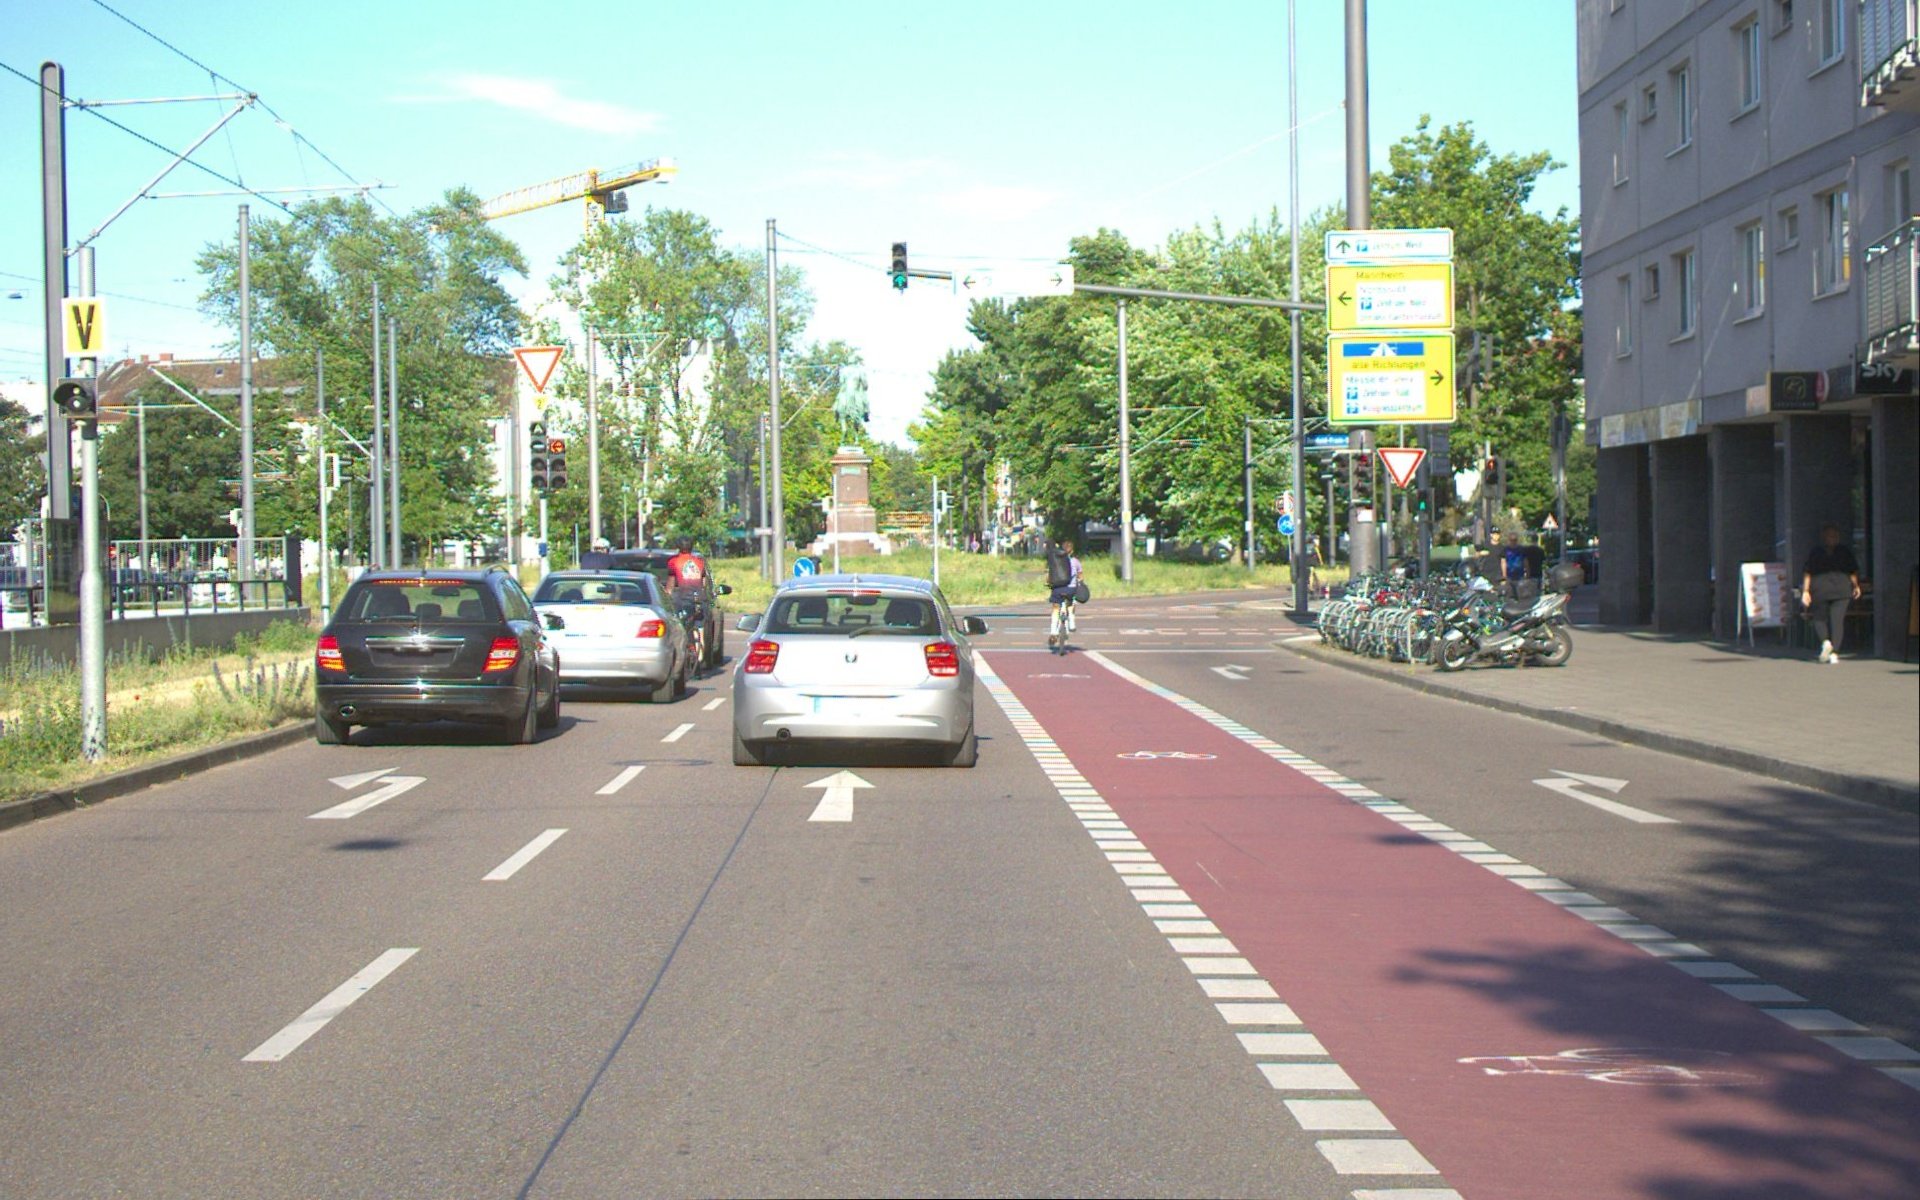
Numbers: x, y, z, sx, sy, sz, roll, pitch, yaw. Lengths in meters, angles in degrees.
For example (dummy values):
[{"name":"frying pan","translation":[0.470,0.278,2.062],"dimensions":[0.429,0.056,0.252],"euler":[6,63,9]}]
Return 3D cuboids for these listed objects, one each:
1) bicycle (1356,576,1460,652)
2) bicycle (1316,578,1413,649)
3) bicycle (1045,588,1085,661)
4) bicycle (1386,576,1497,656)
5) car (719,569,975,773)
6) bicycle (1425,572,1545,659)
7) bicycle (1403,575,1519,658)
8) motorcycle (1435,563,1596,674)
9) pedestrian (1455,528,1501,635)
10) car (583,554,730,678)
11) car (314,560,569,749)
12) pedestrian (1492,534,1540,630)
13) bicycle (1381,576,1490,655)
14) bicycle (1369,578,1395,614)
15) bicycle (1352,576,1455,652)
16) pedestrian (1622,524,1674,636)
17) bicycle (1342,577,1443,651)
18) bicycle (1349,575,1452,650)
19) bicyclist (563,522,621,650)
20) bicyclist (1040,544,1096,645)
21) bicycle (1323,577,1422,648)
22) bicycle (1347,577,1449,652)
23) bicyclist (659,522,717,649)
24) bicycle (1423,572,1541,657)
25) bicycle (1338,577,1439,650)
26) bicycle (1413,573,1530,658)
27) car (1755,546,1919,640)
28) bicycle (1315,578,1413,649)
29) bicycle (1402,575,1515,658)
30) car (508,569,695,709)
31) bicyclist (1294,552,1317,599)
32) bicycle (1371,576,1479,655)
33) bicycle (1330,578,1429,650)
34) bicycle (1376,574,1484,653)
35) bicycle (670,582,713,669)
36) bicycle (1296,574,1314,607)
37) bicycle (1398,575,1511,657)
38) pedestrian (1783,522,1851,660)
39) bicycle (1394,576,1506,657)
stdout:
[{"name":"bicycle","translation":[6.522,0.200,50.065],"dimensions":[1.465,1.063,0.257],"euler":[-2,0,1]},{"name":"bicycle","translation":[6.357,0.208,54.042],"dimensions":[1.465,1.063,0.257],"euler":[-2,0,1]},{"name":"bicycle","translation":[1.597,0.362,52.583],"dimensions":[0.499,1.085,1.997],"euler":[1,0,-1]},{"name":"bicycle","translation":[6.670,0.219,47.659],"dimensions":[1.465,1.063,0.257],"euler":[-2,0,1]},{"name":"car","translation":[-0.830,0.487,26.315],"dimensions":[1.798,1.410,4.000],"euler":[-1,1,-1]},{"name":"bicycle","translation":[6.742,0.199,44.167],"dimensions":[1.465,1.063,0.257],"euler":[-2,0,1]},{"name":"bicycle","translation":[6.638,0.216,45.560],"dimensions":[1.465,1.063,0.257],"euler":[-2,0,1]},{"name":"motorcycle","translation":[6.824,0.227,42.289],"dimensions":[1.855,1.296,0.652],"euler":[-2,0,3]},{"name":"pedestrian","translation":[9.835,-0.346,65.254],"dimensions":[0.791,2.007,0.870],"euler":[1,0,6]},{"name":"car","translation":[-4.125,0.189,47.187],"dimensions":[1.704,1.616,4.000],"euler":[-1,1,-1]},{"name":"car","translation":[-4.300,0.406,29.050],"dimensions":[1.726,1.465,4.411],"euler":[0,0,-3]},{"name":"pedestrian","translation":[10.804,-0.347,66.808],"dimensions":[0.826,1.850,0.916],"euler":[1,0,14]},{"name":"bicycle","translation":[6.635,0.216,48.005],"dimensions":[1.465,1.063,0.257],"euler":[-2,0,1]},{"name":"bicycle","translation":[11.972,-0.118,97.613],"dimensions":[0.417,1.005,1.945],"euler":[1,0,-2]},{"name":"bicycle","translation":[6.536,0.207,50.685],"dimensions":[1.465,1.063,0.257],"euler":[-2,0,1]},{"name":"pedestrian","translation":[12.488,-0.372,62.429],"dimensions":[0.843,2.007,0.889],"euler":[1,0,9]},{"name":"bicycle","translation":[6.497,0.213,51.647],"dimensions":[1.465,1.063,0.257],"euler":[-2,0,1]},{"name":"bicycle","translation":[6.528,0.187,50.999],"dimensions":[1.465,1.063,0.257],"euler":[-2,0,1]},{"name":"bicyclist","translation":[-4.562,-0.179,42.683],"dimensions":[0.616,1.566,0.686],"euler":[1,0,1]},{"name":"bicyclist","translation":[1.648,-0.083,52.583],"dimensions":[0.785,1.526,0.895],"euler":[1,0,-1]},{"name":"bicycle","translation":[6.400,0.195,53.342],"dimensions":[1.465,1.063,0.257],"euler":[-2,0,1]},{"name":"bicycle","translation":[6.542,0.217,51.338],"dimensions":[1.465,1.063,0.257],"euler":[-2,0,1]},{"name":"bicyclist","translation":[-3.393,-0.188,42.875],"dimensions":[0.616,1.566,0.686],"euler":[-1,1,-12]},{"name":"bicycle","translation":[6.759,0.186,44.553],"dimensions":[1.465,1.063,0.257],"euler":[-2,0,1]},{"name":"bicycle","translation":[6.476,0.206,51.964],"dimensions":[1.465,1.063,0.257],"euler":[-2,0,1]},{"name":"bicycle","translation":[6.720,0.204,45.152],"dimensions":[1.465,1.063,0.257],"euler":[-2,0,1]},{"name":"car","translation":[20.070,-0.148,76.367],"dimensions":[4.361,2.007,1.972],"euler":[1,0,1]},{"name":"bicycle","translation":[6.305,0.209,53.704],"dimensions":[1.465,1.063,0.257],"euler":[-2,0,1]},{"name":"bicycle","translation":[6.703,0.218,46.241],"dimensions":[1.465,1.063,0.257],"euler":[-2,0,1]},{"name":"car","translation":[-3.804,0.386,36.996],"dimensions":[1.644,1.416,4.000],"euler":[0,0,-1]},{"name":"bicyclist","translation":[10.274,-0.734,102.235],"dimensions":[0.616,1.375,0.686],"euler":[1,0,1]},{"name":"bicycle","translation":[6.587,0.218,48.715],"dimensions":[1.465,1.063,0.257],"euler":[-2,0,1]},{"name":"bicycle","translation":[6.472,0.208,53.016],"dimensions":[1.465,1.063,0.257],"euler":[-2,0,1]},{"name":"bicycle","translation":[6.609,0.192,48.348],"dimensions":[1.465,1.063,0.257],"euler":[-2,0,1]},{"name":"bicycle","translation":[-3.349,0.305,42.872],"dimensions":[0.338,1.053,1.779],"euler":[-1,1,-11]},{"name":"bicycle","translation":[10.271,-0.282,102.372],"dimensions":[0.352,0.955,1.573],"euler":[1,0,1]},{"name":"bicycle","translation":[6.698,0.216,46.614],"dimensions":[1.465,1.063,0.257],"euler":[-2,0,1]},{"name":"pedestrian","translation":[10.038,-0.103,40.273],"dimensions":[0.573,1.577,0.556],"euler":[-3,0,0]},{"name":"bicycle","translation":[6.693,0.222,46.958],"dimensions":[1.465,1.063,0.257],"euler":[-2,0,1]}]
